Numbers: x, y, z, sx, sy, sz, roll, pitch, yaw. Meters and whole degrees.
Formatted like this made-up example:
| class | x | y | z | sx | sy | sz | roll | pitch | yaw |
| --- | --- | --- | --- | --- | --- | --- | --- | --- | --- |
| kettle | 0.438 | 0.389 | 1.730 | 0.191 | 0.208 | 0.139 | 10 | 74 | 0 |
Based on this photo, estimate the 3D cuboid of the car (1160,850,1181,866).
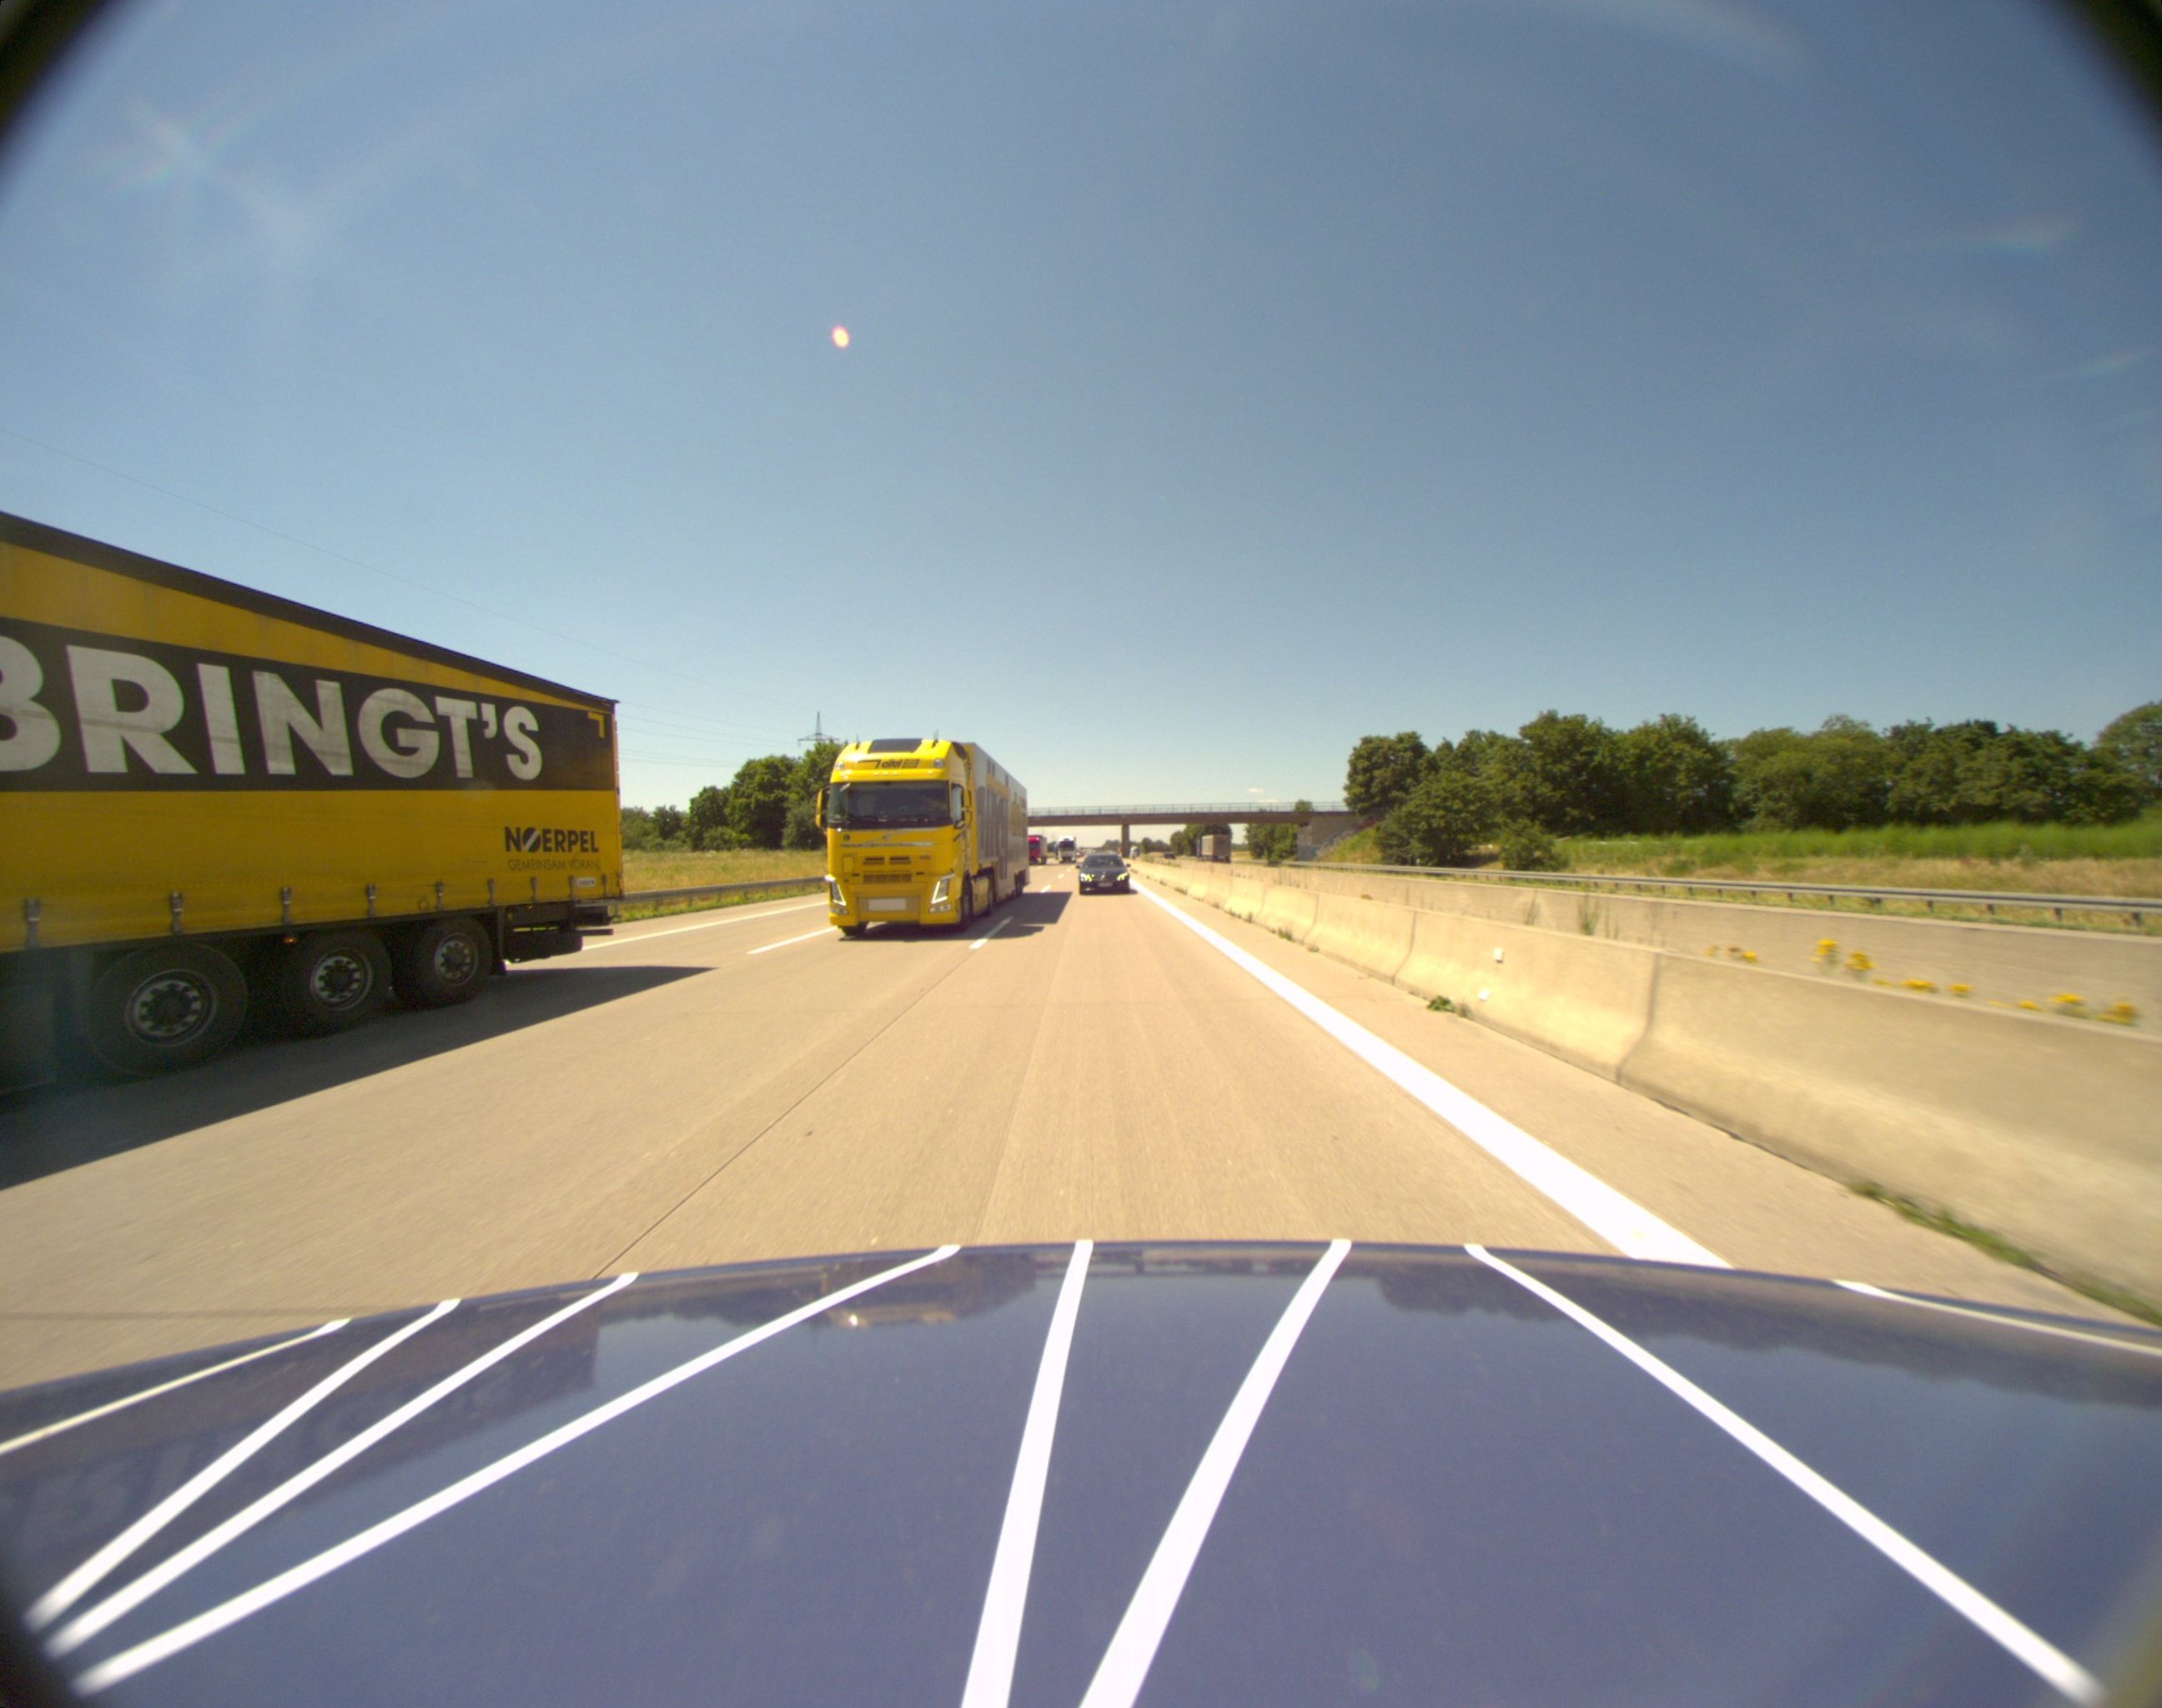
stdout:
| class | x | y | z | sx | sy | sz | roll | pitch | yaw |
| --- | --- | --- | --- | --- | --- | --- | --- | --- | --- |
| car | 10.947 | 0.483 | 93.307 | 1.998 | 1.851 | 5.466 | -2 | 1 | 1 |

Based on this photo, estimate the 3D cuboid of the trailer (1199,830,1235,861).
| class | x | y | z | sx | sy | sz | roll | pitch | yaw |
| --- | --- | --- | --- | --- | --- | --- | --- | --- | --- |
| trailer | 19.008 | -1.236 | 106.789 | 2.989 | 4.066 | 11.604 | 1 | 1 | 1 |

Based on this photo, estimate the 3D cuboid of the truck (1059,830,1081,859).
| class | x | y | z | sx | sy | sz | roll | pitch | yaw |
| --- | --- | --- | --- | --- | --- | --- | --- | --- | --- |
| truck | -1.639 | -1.435 | 113.398 | 2.959 | 4.122 | 6.151 | -2 | 1 | 1 |

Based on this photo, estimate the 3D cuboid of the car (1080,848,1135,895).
| class | x | y | z | sx | sy | sz | roll | pitch | yaw |
| --- | --- | --- | --- | --- | --- | --- | --- | --- | --- |
| car | 0.944 | 0.598 | 28.451 | 1.848 | 1.576 | 3.939 | -2 | 1 | 1 |

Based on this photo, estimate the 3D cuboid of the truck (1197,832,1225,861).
| class | x | y | z | sx | sy | sz | roll | pitch | yaw |
| --- | --- | --- | --- | --- | --- | --- | --- | --- | --- |
| truck | 19.098 | -1.063 | 111.846 | 2.989 | 4.066 | 6.465 | 1 | 1 | 1 |

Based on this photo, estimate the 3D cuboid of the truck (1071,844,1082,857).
| class | x | y | z | sx | sy | sz | roll | pitch | yaw |
| --- | --- | --- | --- | --- | --- | --- | --- | --- | --- |
| truck | -1.310 | -1.110 | 236.145 | 2.959 | 4.122 | 10.016 | -2 | 1 | 1 |

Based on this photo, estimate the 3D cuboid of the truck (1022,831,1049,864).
| class | x | y | z | sx | sy | sz | roll | pitch | yaw |
| --- | --- | --- | --- | --- | --- | --- | --- | --- | --- |
| truck | -6.092 | -0.880 | 102.677 | 2.960 | 4.122 | 6.151 | -2 | 1 | 1 |

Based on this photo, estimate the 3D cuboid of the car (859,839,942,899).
| class | x | y | z | sx | sy | sz | roll | pitch | yaw |
| --- | --- | --- | --- | --- | --- | --- | --- | --- | --- |
| car | -7.761 | 0.558 | 33.236 | 2.139 | 2.334 | 5.515 | -2 | 1 | 1 |

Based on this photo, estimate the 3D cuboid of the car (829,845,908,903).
| class | x | y | z | sx | sy | sz | roll | pitch | yaw |
| --- | --- | --- | --- | --- | --- | --- | --- | --- | --- |
| car | -7.906 | 0.688 | 28.638 | 1.788 | 2.002 | 3.819 | -2 | 1 | 1 |

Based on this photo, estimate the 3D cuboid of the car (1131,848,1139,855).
| class | x | y | z | sx | sy | sz | roll | pitch | yaw |
| --- | --- | --- | --- | --- | --- | --- | --- | --- | --- |
| car | 16.806 | -0.752 | 235.968 | 2.258 | 1.947 | 5.684 | 0 | 1 | 0 |

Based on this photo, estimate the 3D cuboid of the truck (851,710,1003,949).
| class | x | y | z | sx | sy | sz | roll | pitch | yaw |
| --- | --- | --- | --- | --- | --- | --- | --- | --- | --- |
| truck | -3.038 | -0.457 | 16.261 | 1.998 | 4.230 | 5.194 | -2 | 1 | 0 |

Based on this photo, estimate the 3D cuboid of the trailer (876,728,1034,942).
| class | x | y | z | sx | sy | sz | roll | pitch | yaw |
| --- | --- | --- | --- | --- | --- | --- | --- | --- | --- |
| trailer | -2.994 | -0.456 | 22.876 | 1.998 | 4.230 | 15.197 | -2 | 1 | 0 |

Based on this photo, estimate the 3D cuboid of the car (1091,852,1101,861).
| class | x | y | z | sx | sy | sz | roll | pitch | yaw |
| --- | --- | --- | --- | --- | --- | --- | --- | --- | --- |
| car | 2.994 | 0.554 | 154.662 | 1.998 | 1.781 | 4.300 | -2 | 1 | 1 |

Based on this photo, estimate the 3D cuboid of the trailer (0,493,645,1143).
| class | x | y | z | sx | sy | sz | roll | pitch | yaw |
| --- | --- | --- | --- | --- | --- | --- | --- | --- | --- |
| trailer | -7.925 | -0.211 | 4.348 | 1.998 | 4.169 | 14.744 | -2 | 1 | 1 |

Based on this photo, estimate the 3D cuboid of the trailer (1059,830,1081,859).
| class | x | y | z | sx | sy | sz | roll | pitch | yaw |
| --- | --- | --- | --- | --- | --- | --- | --- | --- | --- |
| trailer | -1.612 | -1.463 | 118.441 | 2.959 | 4.122 | 12.024 | -2 | 1 | 1 |

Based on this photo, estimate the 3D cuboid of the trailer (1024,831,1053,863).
| class | x | y | z | sx | sy | sz | roll | pitch | yaw |
| --- | --- | --- | --- | --- | --- | --- | --- | --- | --- |
| trailer | -5.983 | -1.034 | 109.428 | 2.959 | 4.122 | 13.809 | -2 | 1 | 1 |
